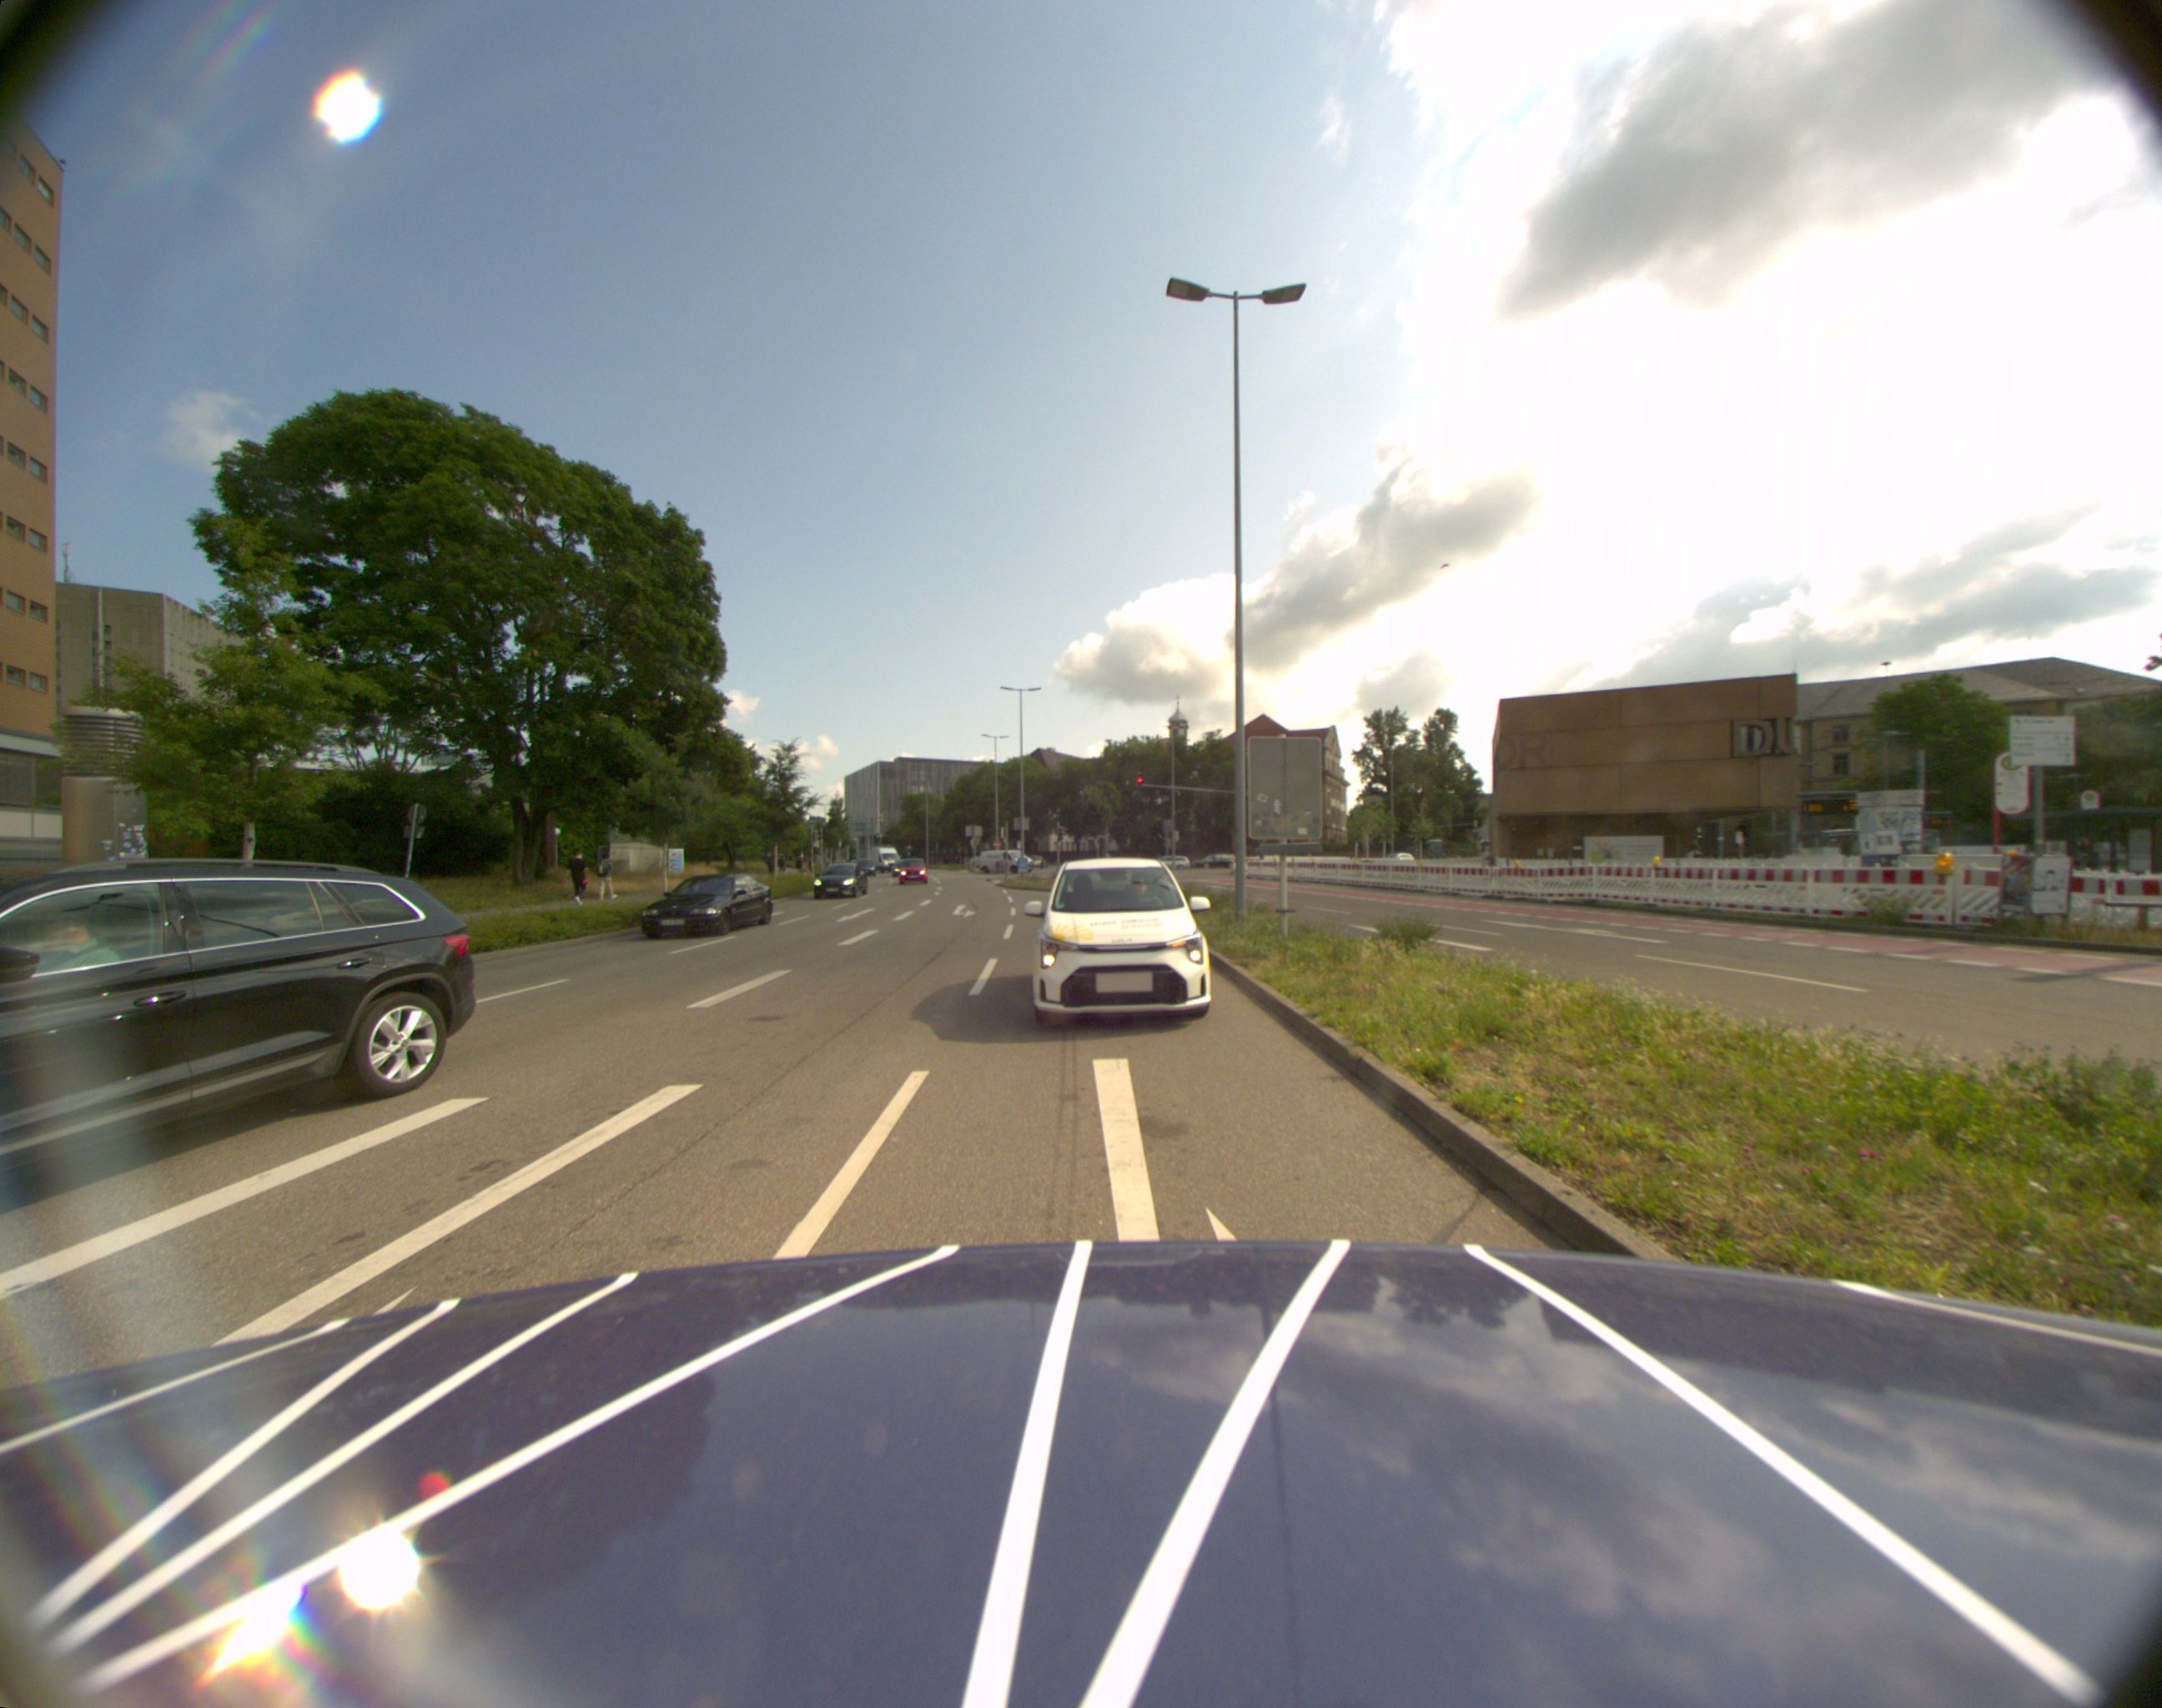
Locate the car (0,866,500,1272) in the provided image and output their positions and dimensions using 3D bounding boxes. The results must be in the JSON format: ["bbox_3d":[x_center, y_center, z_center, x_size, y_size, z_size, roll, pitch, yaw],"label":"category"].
[{"bbox_3d":[-5.641,0.986,3.667,1.998,1.659,4.683,-2,1,0],"label":"car"}]

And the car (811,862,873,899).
[{"bbox_3d":[-10.302,1.120,33.004,1.714,1.445,3.998,-1,0,-5],"label":"car"}]

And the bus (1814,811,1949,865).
[{"bbox_3d":[57.811,-1.076,55.399,2.957,3.487,12.276,0,0,28],"label":"bus"}]

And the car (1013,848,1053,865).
[{"bbox_3d":[-5.091,0.262,80.107,2.004,1.674,4.331,-3,1,-41],"label":"car"}]

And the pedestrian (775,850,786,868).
[{"bbox_3d":[-33.894,0.577,85.778,0.988,2.002,1.128,-1,1,-16],"label":"pedestrian"}]

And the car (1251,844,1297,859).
[{"bbox_3d":[18.553,-0.244,72.967,4.136,1.382,1.756,0,0,-29],"label":"car"}]

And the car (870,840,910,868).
[{"bbox_3d":[-20.388,0.034,81.013,2.490,2.862,6.134,-1,1,-30],"label":"car"}]

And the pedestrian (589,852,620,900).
[{"bbox_3d":[-17.748,0.817,28.317,0.671,1.736,0.645,3,1,0],"label":"pedestrian"}]

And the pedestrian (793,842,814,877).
[{"bbox_3d":[-16.585,0.330,45.427,0.988,2.002,1.128,-2,1,-16],"label":"pedestrian"}]

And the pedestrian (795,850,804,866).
[{"bbox_3d":[-35.170,0.532,94.871,0.988,2.002,1.128,-1,1,-16],"label":"pedestrian"}]

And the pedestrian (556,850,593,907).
[{"bbox_3d":[-16.829,0.795,25.250,0.760,1.860,0.645,2,1,0],"label":"pedestrian"}]

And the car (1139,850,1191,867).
[{"bbox_3d":[8.400,0.436,75.812,4.785,1.559,1.997,0,0,-15],"label":"car"}]

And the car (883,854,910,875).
[{"bbox_3d":[-15.757,0.873,64.815,1.892,1.608,3.994,-2,1,-18],"label":"car"}]

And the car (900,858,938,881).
[{"bbox_3d":[-9.928,0.925,46.811,1.608,1.207,3.009,-2,1,1],"label":"car"}]

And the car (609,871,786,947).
[{"bbox_3d":[-8.918,1.198,18.188,1.999,1.390,4.507,-1,1,-1],"label":"car"}]

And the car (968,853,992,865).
[{"bbox_3d":[-12.643,0.599,94.679,1.961,1.479,5.092,0,0,-19],"label":"car"}]

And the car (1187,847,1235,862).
[{"bbox_3d":[11.902,0.030,69.347,4.136,1.382,1.756,0,0,-29],"label":"car"}]

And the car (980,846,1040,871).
[{"bbox_3d":[-6.102,0.400,64.947,5.060,2.002,2.004,-2,1,40],"label":"car"}]

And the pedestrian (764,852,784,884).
[{"bbox_3d":[-19.643,0.893,48.582,0.988,2.002,1.128,-2,1,-16],"label":"pedestrian"}]

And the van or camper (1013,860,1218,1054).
[{"bbox_3d":[0.350,0.837,8.069,1.627,1.467,4.000,0,1,2],"label":"van or camper"}]
